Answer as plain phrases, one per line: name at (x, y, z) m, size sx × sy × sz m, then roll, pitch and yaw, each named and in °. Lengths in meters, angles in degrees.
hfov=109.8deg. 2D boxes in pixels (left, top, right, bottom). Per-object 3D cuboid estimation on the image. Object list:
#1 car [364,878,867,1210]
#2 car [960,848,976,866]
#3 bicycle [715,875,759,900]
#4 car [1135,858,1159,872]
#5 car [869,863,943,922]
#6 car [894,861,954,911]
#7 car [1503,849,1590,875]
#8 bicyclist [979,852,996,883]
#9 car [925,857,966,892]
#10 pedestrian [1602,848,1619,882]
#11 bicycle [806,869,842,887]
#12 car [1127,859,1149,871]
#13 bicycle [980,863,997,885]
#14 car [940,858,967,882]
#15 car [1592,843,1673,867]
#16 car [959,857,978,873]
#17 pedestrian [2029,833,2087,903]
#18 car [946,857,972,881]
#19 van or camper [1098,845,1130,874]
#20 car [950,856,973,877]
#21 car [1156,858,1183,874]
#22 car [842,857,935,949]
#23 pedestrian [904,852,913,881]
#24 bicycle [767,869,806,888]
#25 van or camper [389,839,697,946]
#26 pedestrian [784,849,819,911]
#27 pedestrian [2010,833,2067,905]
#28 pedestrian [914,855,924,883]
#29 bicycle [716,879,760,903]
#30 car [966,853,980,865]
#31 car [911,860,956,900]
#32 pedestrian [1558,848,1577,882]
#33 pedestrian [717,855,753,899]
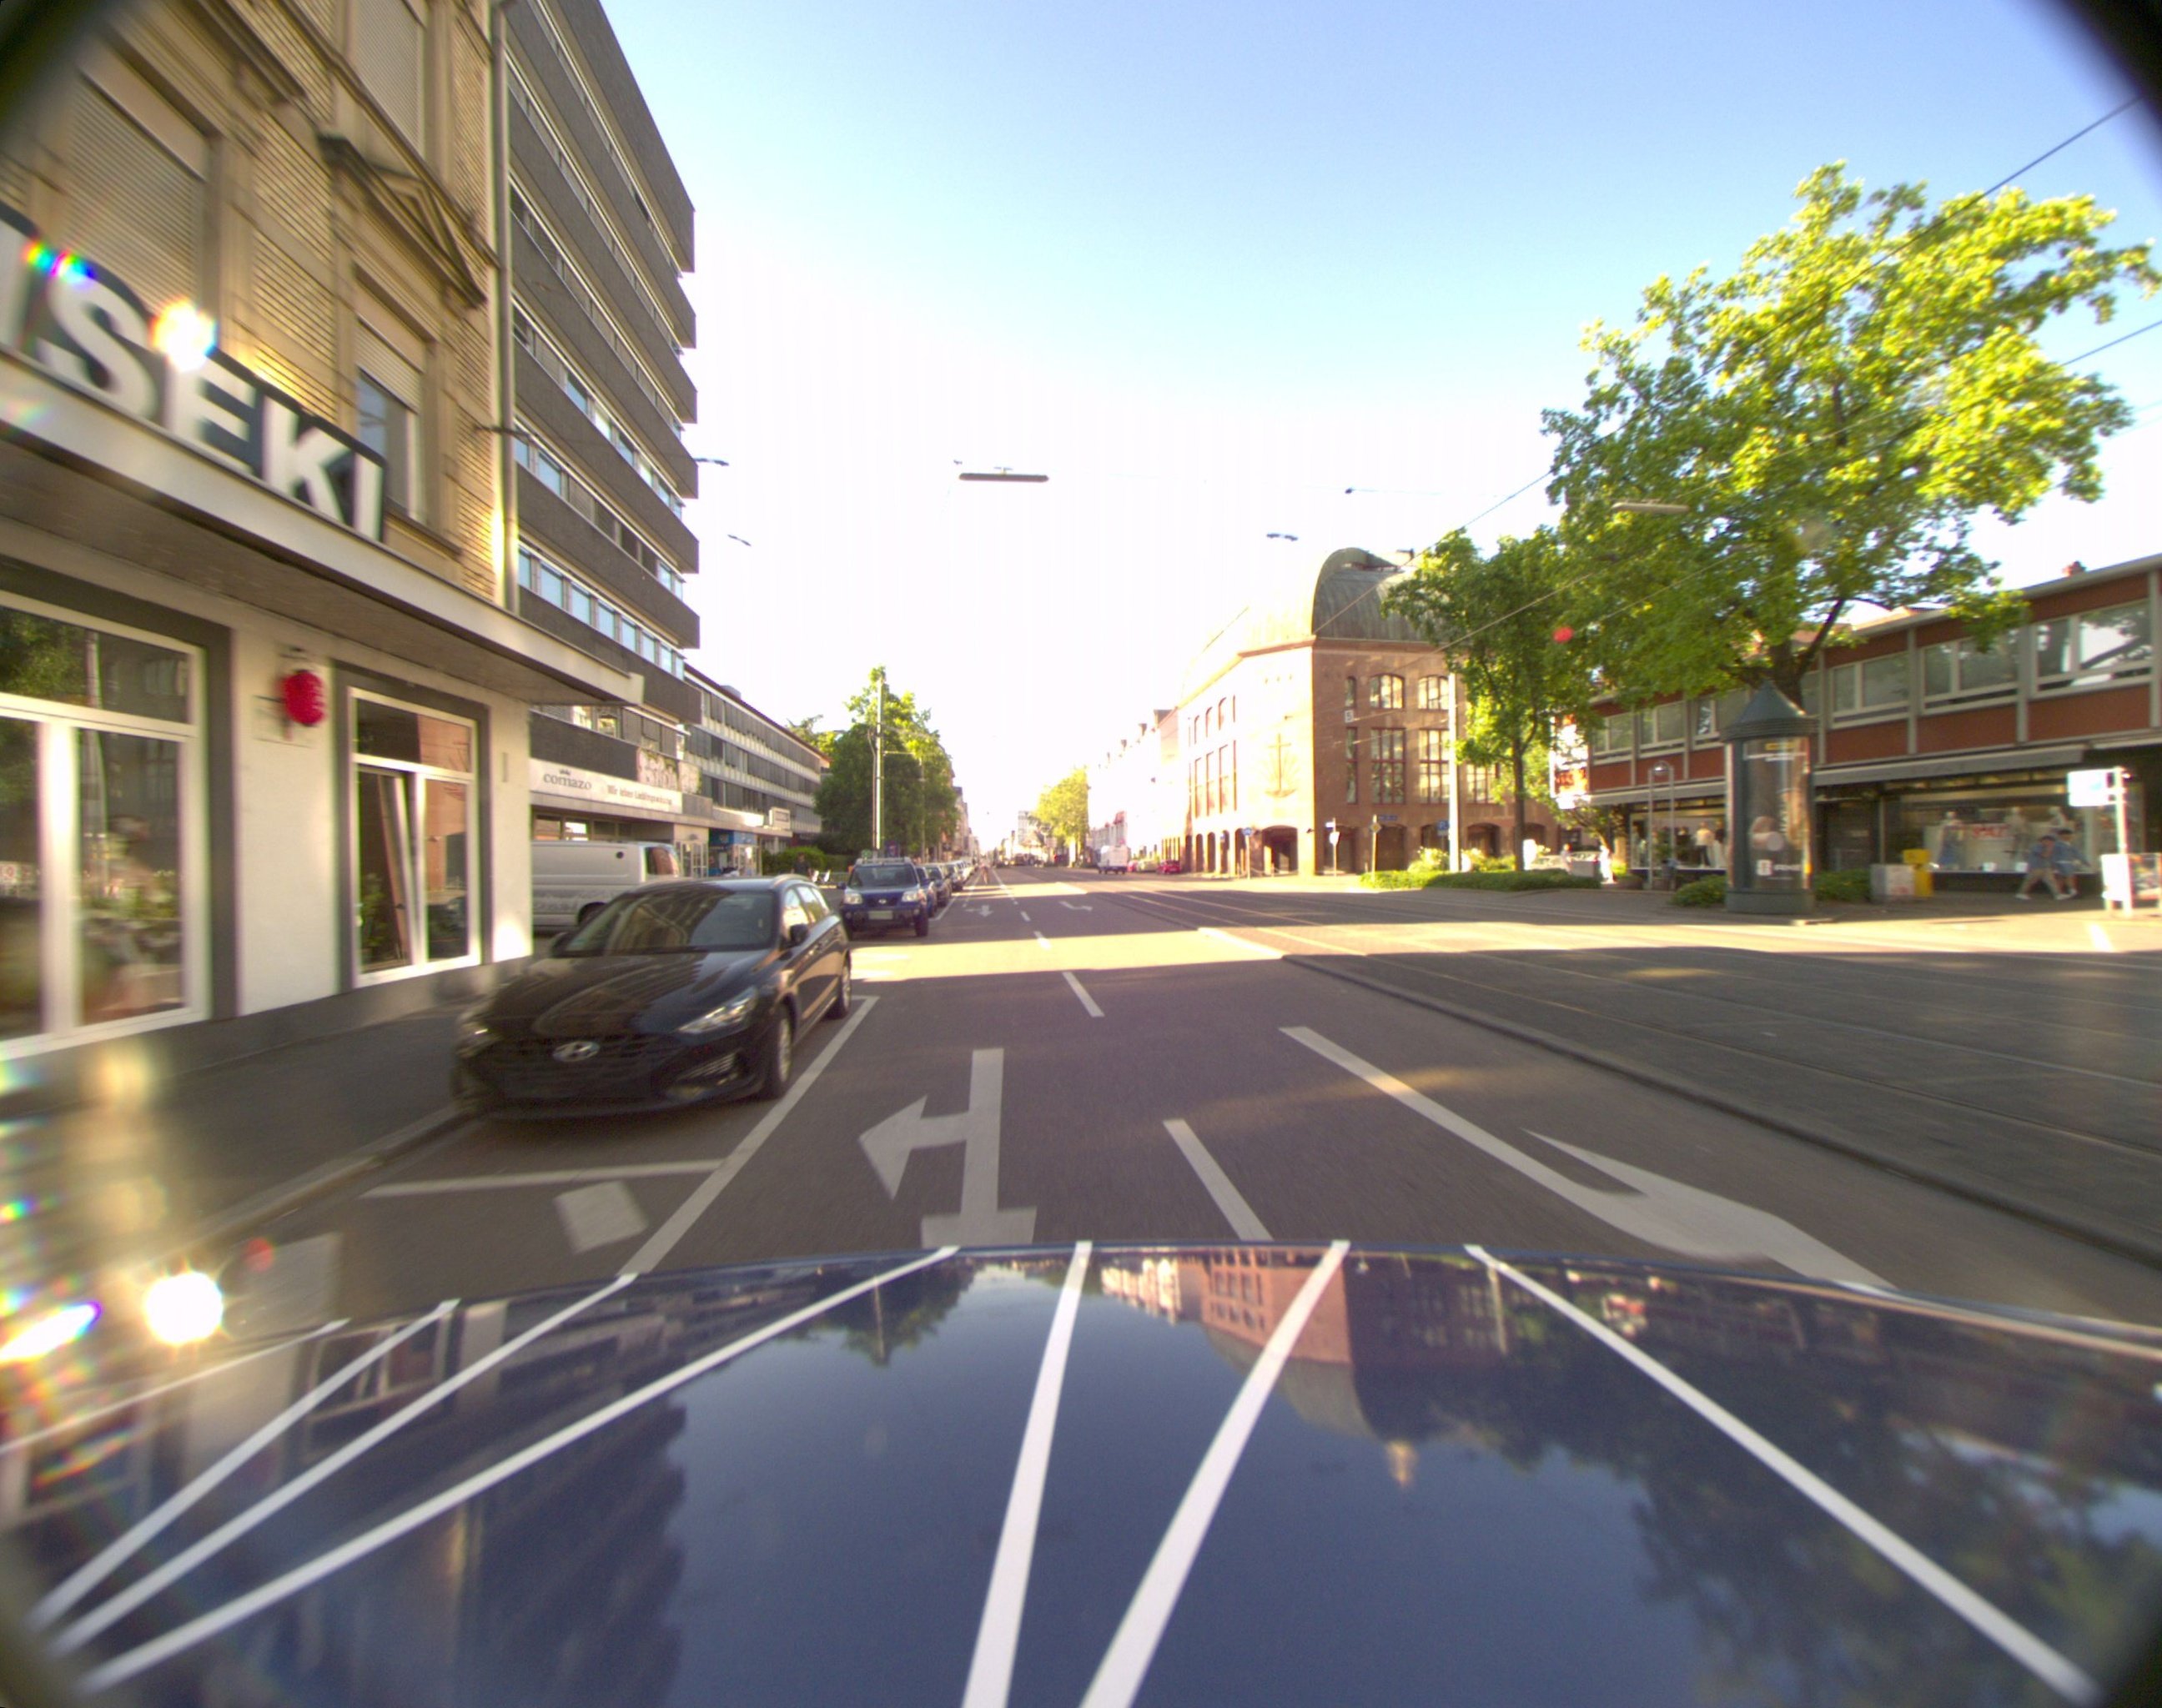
car at (-2.963, 1.024, 6.065) m, size 1.695 × 1.442 × 4.357 m, roll -3°, pitch 0°, yaw -7°
car at (-13.917, 0.374, 93.404) m, size 1.734 × 2.038 × 4.112 m, roll -3°, pitch 2°, yaw -7°
bicycle at (-13.763, 1.338, 30.407) m, size 1.576 × 0.916 × 0.339 m, roll 2°, pitch 1°, yaw -8°
car at (7.187, 1.160, 82.736) m, size 1.857 × 1.445 × 3.851 m, roll -2°, pitch 0°, yaw -7°
car at (-5.126, 1.075, 22.684) m, size 1.719 × 1.446 × 3.775 m, roll -3°, pitch 1°, yaw -7°
car at (-5.572, 1.089, 27.436) m, size 1.703 × 1.474 × 4.223 m, roll -3°, pitch 1°, yaw -7°
car at (28.784, 0.470, 47.049) m, size 4.274 × 1.521 × 1.999 m, roll -1°, pitch 0°, yaw -7°
bicyclist at (-5.493, 0.776, 44.876) m, size 0.896 × 1.755 × 1.029 m, roll -3°, pitch 2°, yaw -7°
car at (-6.870, 1.006, 38.942) m, size 1.734 × 1.475 × 4.924 m, roll -3°, pitch 2°, yaw -7°
pedestrian at (24.724, 0.495, 35.491) m, size 0.446 × 1.583 × 0.723 m, roll 0°, pitch 1°, yaw 19°
bicycle at (-13.845, 1.304, 40.974) m, size 1.815 × 0.917 × 0.406 m, roll 1°, pitch 1°, yaw -10°
car at (6.530, 1.270, 87.621) m, size 1.857 × 1.346 × 3.851 m, roll -2°, pitch 0°, yaw -7°
bicycle at (-5.473, 1.185, 44.911) m, size 0.890 × 1.155 × 2.077 m, roll -3°, pitch 2°, yaw -7°
car at (-8.750, 1.094, 52.372) m, size 1.734 × 1.474 × 3.861 m, roll -3°, pitch 0°, yaw -9°
car at (35.575, 0.049, 49.067) m, size 4.277 × 1.521 × 1.997 m, roll -1°, pitch 0°, yaw -15°
car at (-11.782, 1.133, 79.853) m, size 1.734 × 1.475 × 4.112 m, roll -3°, pitch 2°, yaw -7°
pedestrian at (24.863, 0.349, 19.341) m, size 0.574 × 1.740 × 0.706 m, roll -1°, pitch 1°, yaw -6°
car at (-9.167, 1.082, 57.417) m, size 1.734 × 1.568 × 4.112 m, roll -3°, pitch 1°, yaw -7°
van or camper at (3.249, 0.549, 75.397) m, size 2.043 × 2.723 × 7.016 m, roll 0°, pitch 0°, yaw -7°
car at (-9.950, 0.989, 63.002) m, size 1.734 × 1.586 × 4.112 m, roll -3°, pitch 1°, yaw -9°
car at (8.489, 1.138, 72.958) m, size 1.754 × 1.445 × 3.469 m, roll -2°, pitch 0°, yaw -8°
car at (-4.347, 0.973, 17.282) m, size 1.696 × 1.703 × 4.609 m, roll -3°, pitch 1°, yaw -14°
pedestrian at (-12.418, 0.905, 54.708) m, size 0.508 × 2.002 × 0.574 m, roll -3°, pitch 2°, yaw -7°
bicycle at (-15.519, 1.290, 40.075) m, size 1.808 × 0.960 × 0.572 m, roll 1°, pitch 1°, yaw -7°
van or camper at (-10.652, 0.742, 15.368) m, size 4.705 × 1.922 × 1.999 m, roll 2°, pitch 0°, yaw -3°
pedestrian at (-8.821, 0.802, 24.011) m, size 0.686 × 1.901 × 1.062 m, roll -3°, pitch 2°, yaw -4°
pedestrian at (24.272, 0.373, 19.269) m, size 0.574 × 1.762 × 0.706 m, roll -1°, pitch 1°, yaw -6°
pedestrian at (-11.709, 1.079, 54.886) m, size 0.508 × 2.002 × 0.574 m, roll -3°, pitch 2°, yaw -7°
bicycle at (-13.946, 1.501, 30.922) m, size 1.576 × 0.916 × 0.339 m, roll 0°, pitch 2°, yaw -8°
car at (-14.654, 0.639, 103.344) m, size 1.734 × 1.475 × 4.249 m, roll -3°, pitch 2°, yaw -7°
car at (-6.333, 1.087, 32.925) m, size 1.576 × 1.474 × 3.555 m, roll -3°, pitch 1°, yaw -7°
pedestrian at (22.968, 0.532, 35.893) m, size 0.447 × 1.583 × 0.722 m, roll -1°, pitch 0°, yaw 3°
pedestrian at (-13.666, 0.886, 30.023) m, size 1.013 × 1.639 × 0.916 m, roll 3°, pitch 1°, yaw -6°
